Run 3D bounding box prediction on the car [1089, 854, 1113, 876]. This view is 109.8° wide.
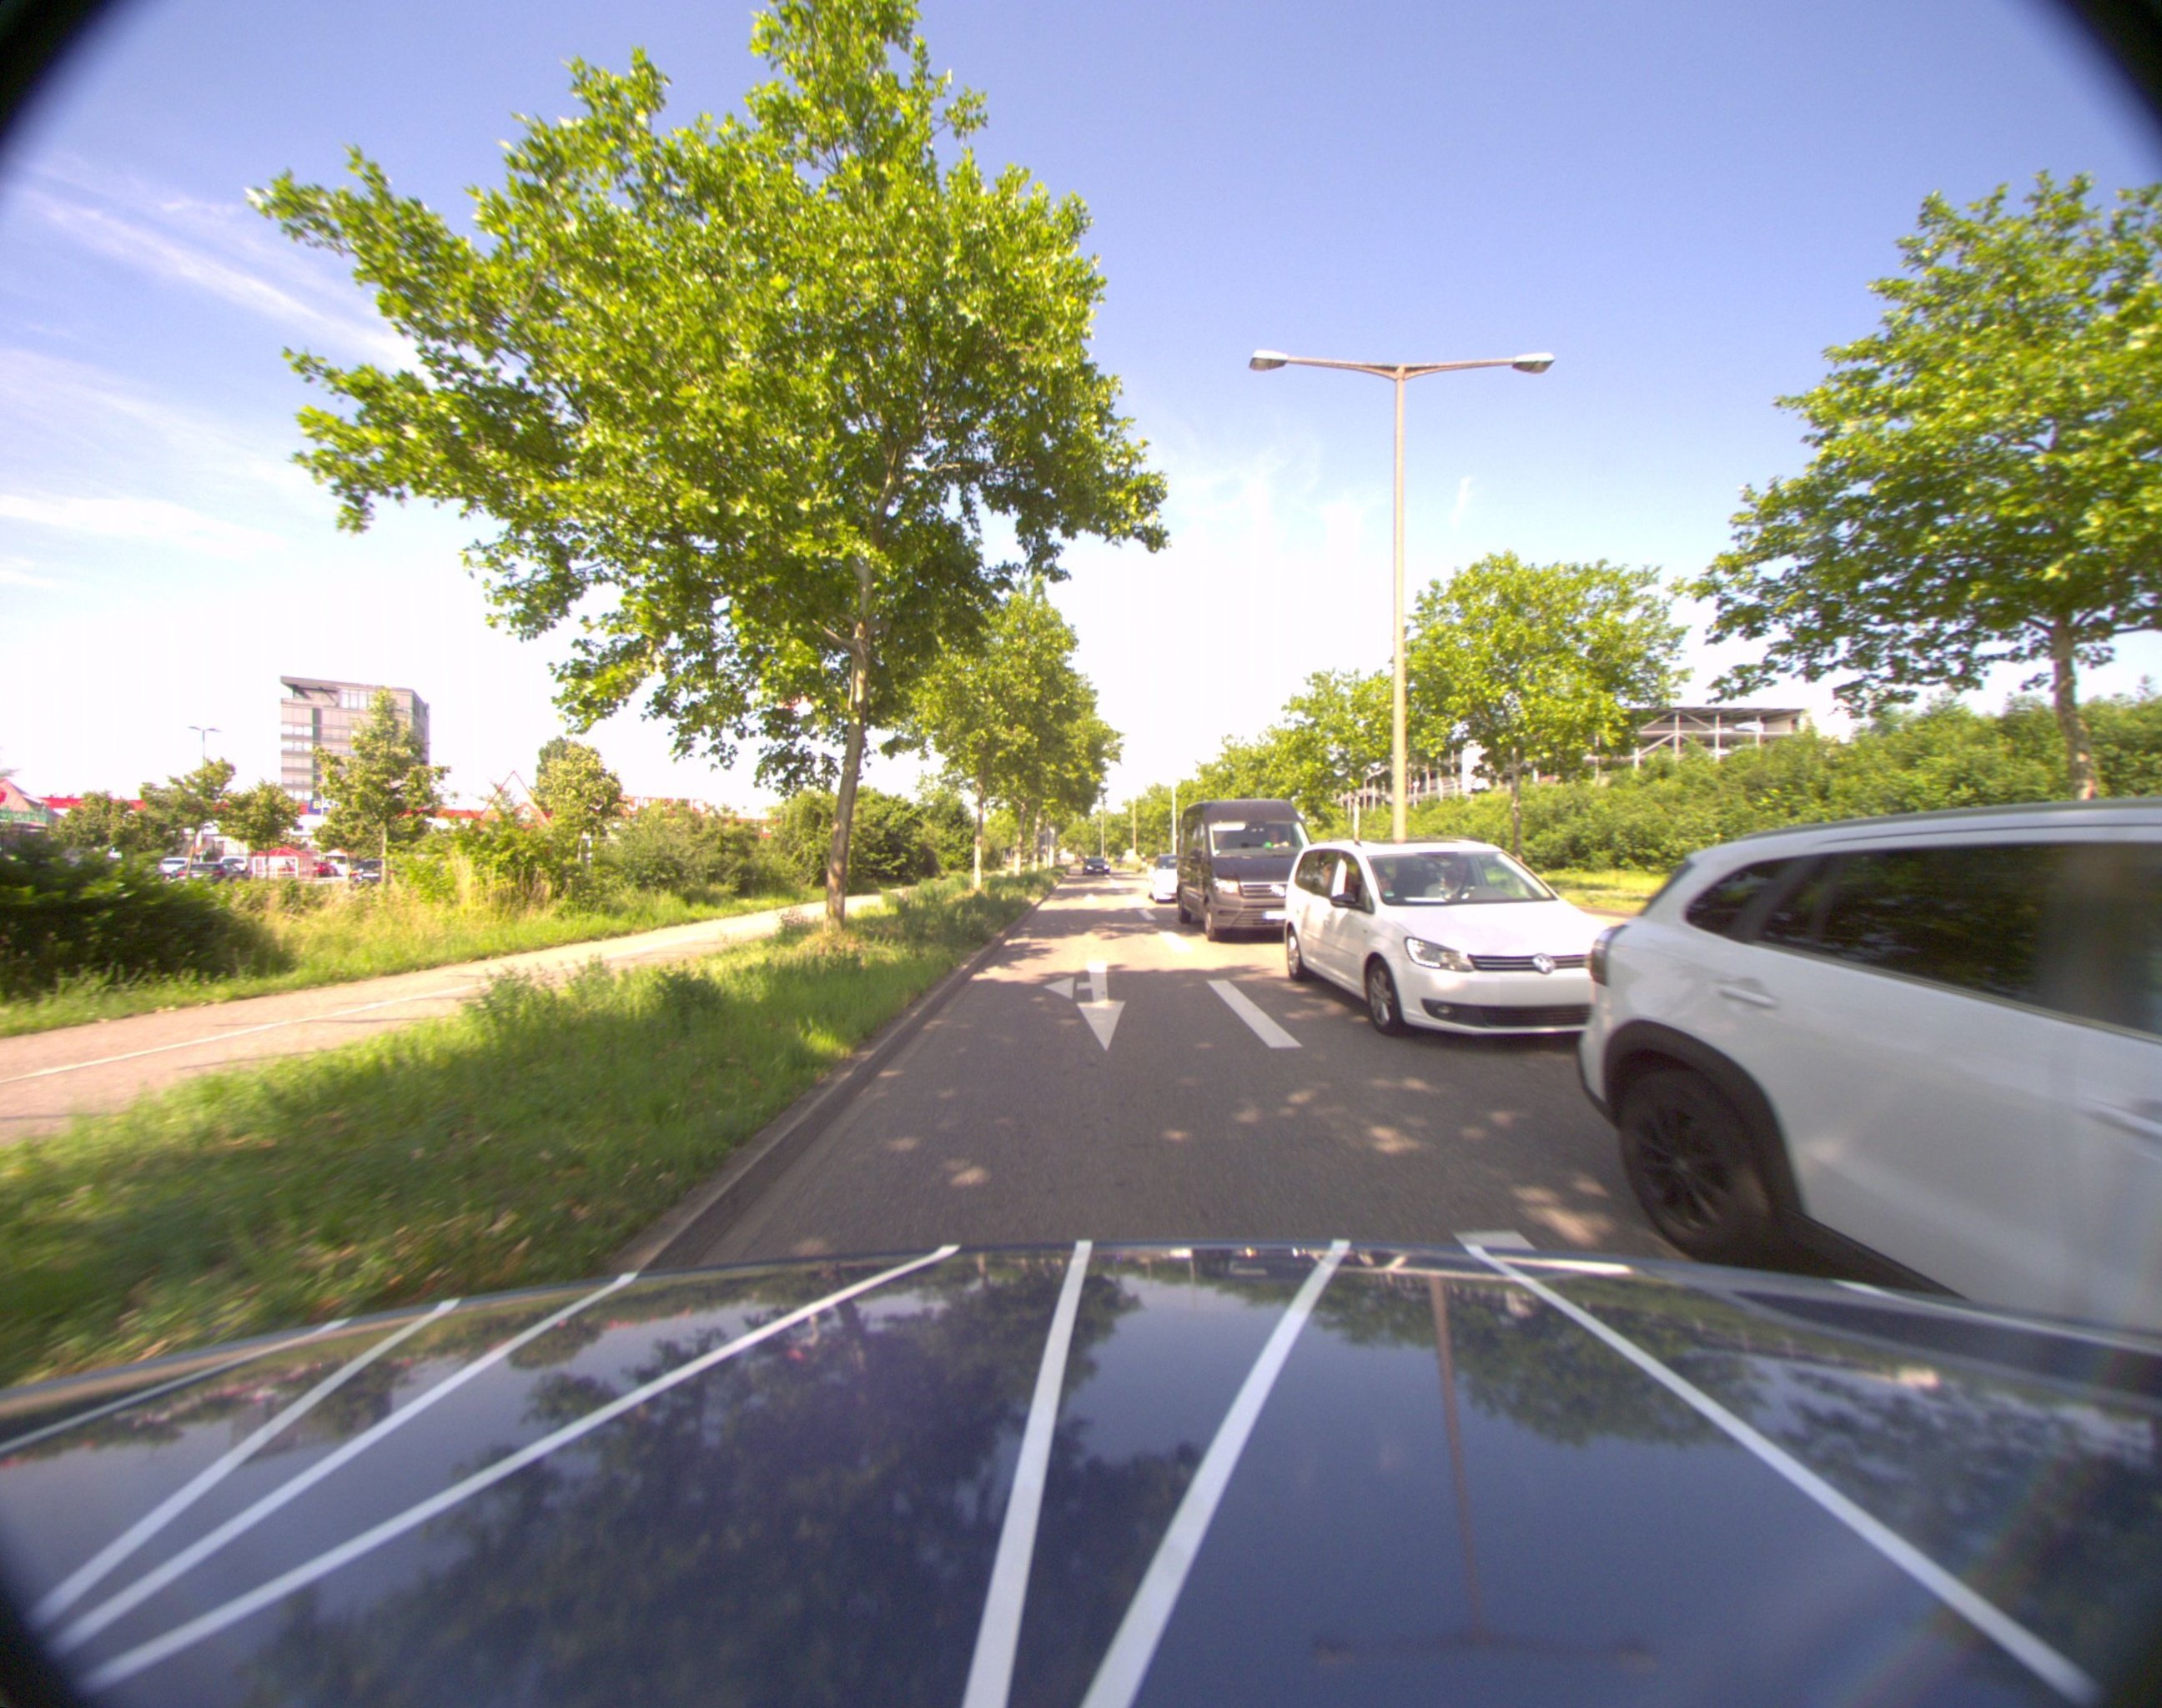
[{"bbox_3d":[1.483,0.821,56.974,1.721,1.575,3.754,-1,0,0],"label":"car"}]

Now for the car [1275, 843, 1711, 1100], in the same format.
[{"bbox_3d":[3.211,0.749,7.077,1.776,1.638,4.352,-1,0,1],"label":"car"}]

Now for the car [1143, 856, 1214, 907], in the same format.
[{"bbox_3d":[3.136,0.842,25.174,1.824,1.512,4.208,-1,0,1],"label":"car"}]

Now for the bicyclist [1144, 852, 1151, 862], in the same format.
[{"bbox_3d":[8.355,0.396,95.245,0.730,1.183,1.102,-2,-2,1],"label":"bicyclist"}]

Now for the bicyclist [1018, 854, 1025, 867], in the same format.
[{"bbox_3d":[-6.774,0.715,86.178,0.706,1.468,1.009,-1,1,1],"label":"bicyclist"}]

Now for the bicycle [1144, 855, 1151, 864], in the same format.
[{"bbox_3d":[8.361,0.678,95.290,0.730,1.022,2.218,-2,-2,1],"label":"bicycle"}]

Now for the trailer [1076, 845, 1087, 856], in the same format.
[{"bbox_3d":[0.131,-0.717,158.241,2.314,2.252,5.538,-1,0,1],"label":"trailer"}]

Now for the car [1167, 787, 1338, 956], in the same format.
[{"bbox_3d":[3.031,0.259,14.943,2.021,2.592,6.168,-1,0,1],"label":"car"}]

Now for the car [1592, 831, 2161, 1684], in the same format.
[{"bbox_3d":[2.946,0.765,1.056,1.776,1.638,4.084,-1,0,1],"label":"car"}]

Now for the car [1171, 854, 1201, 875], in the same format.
[{"bbox_3d":[8.201,0.782,59.744,1.858,1.574,4.175,-1,0,1],"label":"car"}]

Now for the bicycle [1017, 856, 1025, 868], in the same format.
[{"bbox_3d":[-6.777,0.916,86.003,0.724,1.291,2.095,-1,1,1],"label":"bicycle"}]

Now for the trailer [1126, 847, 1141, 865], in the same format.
[{"bbox_3d":[8.487,0.271,123.522,1.885,2.728,4.828,-2,0,-1],"label":"trailer"}]
